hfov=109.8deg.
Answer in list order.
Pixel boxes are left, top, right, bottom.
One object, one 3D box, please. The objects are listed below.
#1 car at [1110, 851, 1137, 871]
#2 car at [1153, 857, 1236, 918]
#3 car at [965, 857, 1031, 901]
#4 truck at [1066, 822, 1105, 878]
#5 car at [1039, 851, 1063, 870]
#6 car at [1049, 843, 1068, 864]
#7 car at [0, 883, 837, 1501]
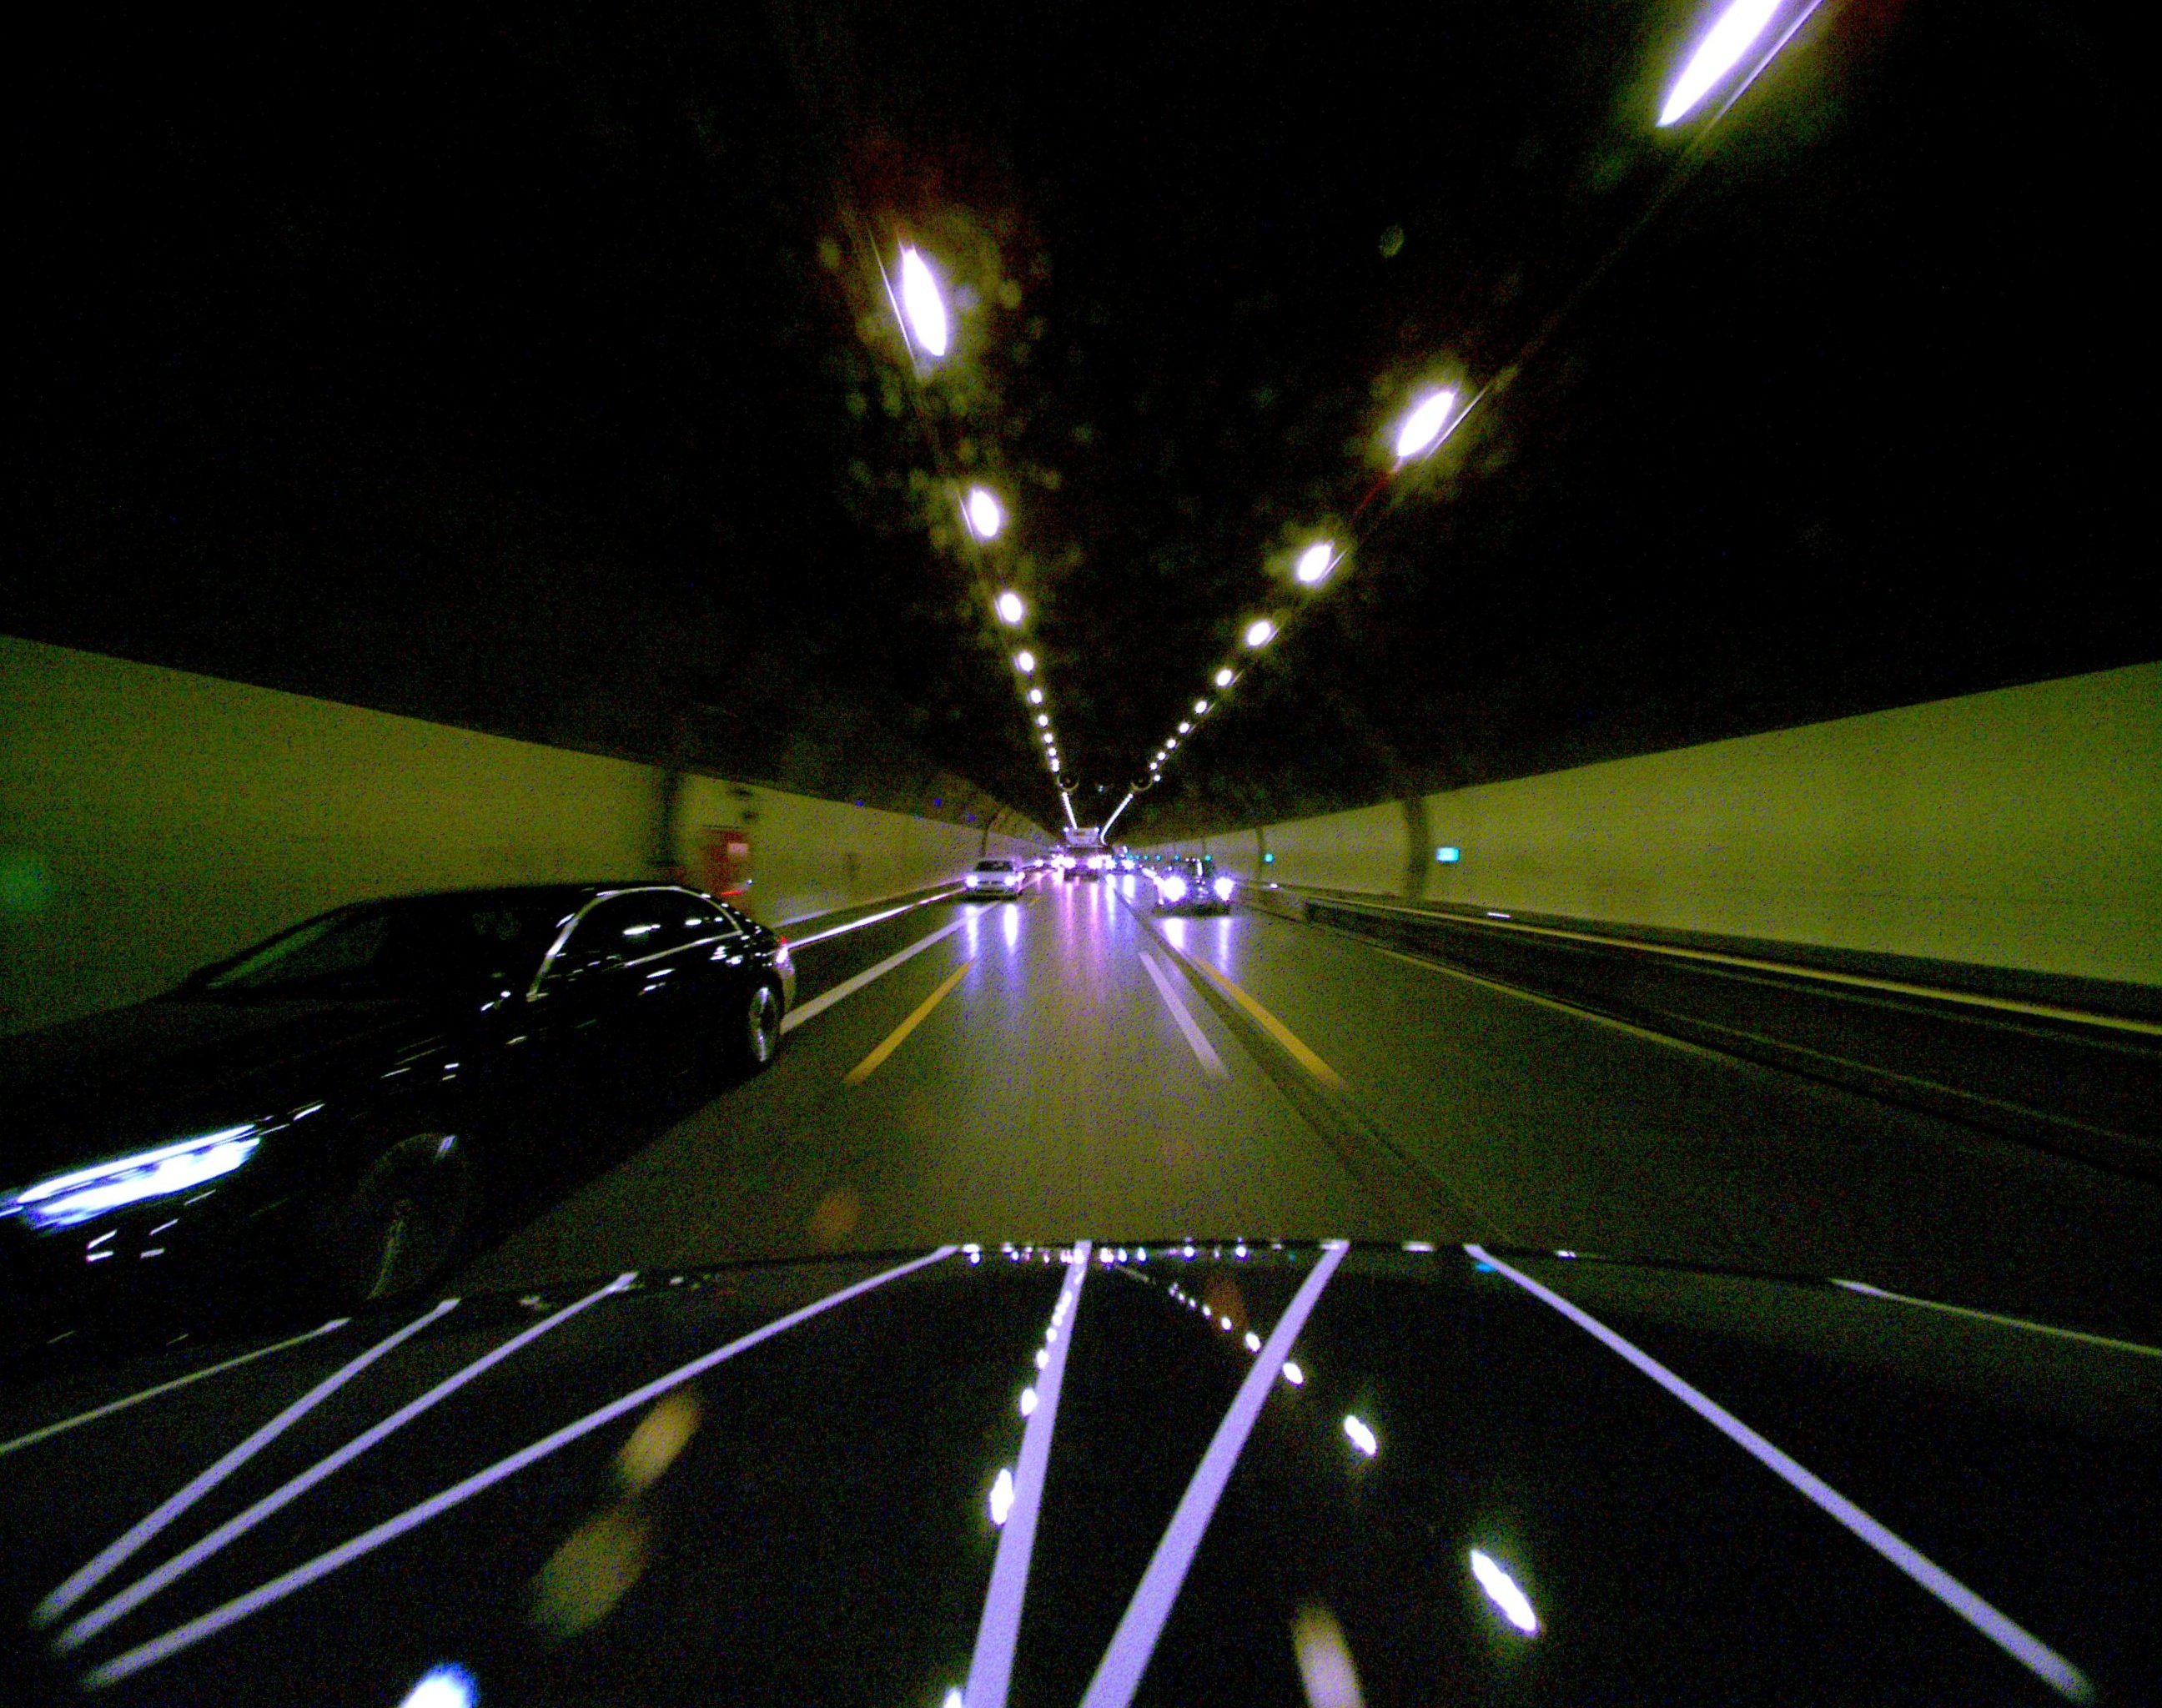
[{"bbox_3d":[3.504,0.575,63.532,1.958,1.528,4.757,-2,1,0],"label":"car"},{"bbox_3d":[2.937,0.832,20.323,1.657,1.395,3.656,-2,0,0],"label":"car"},{"bbox_3d":[-2.937,0.848,27.677,1.801,1.452,4.035,-1,0,2],"label":"car"},{"bbox_3d":[0.268,-0.254,47.948,2.262,3.238,7.382,0,0,0],"label":"truck"},{"bbox_3d":[-2.633,0.552,67.586,1.958,1.528,4.757,0,1,0],"label":"car"},{"bbox_3d":[-2.786,-0.102,95.994,2.124,2.629,6.229,0,1,0],"label":"car"},{"bbox_3d":[-3.270,1.020,4.556,1.930,1.464,4.954,0,1,1],"label":"car"}]
